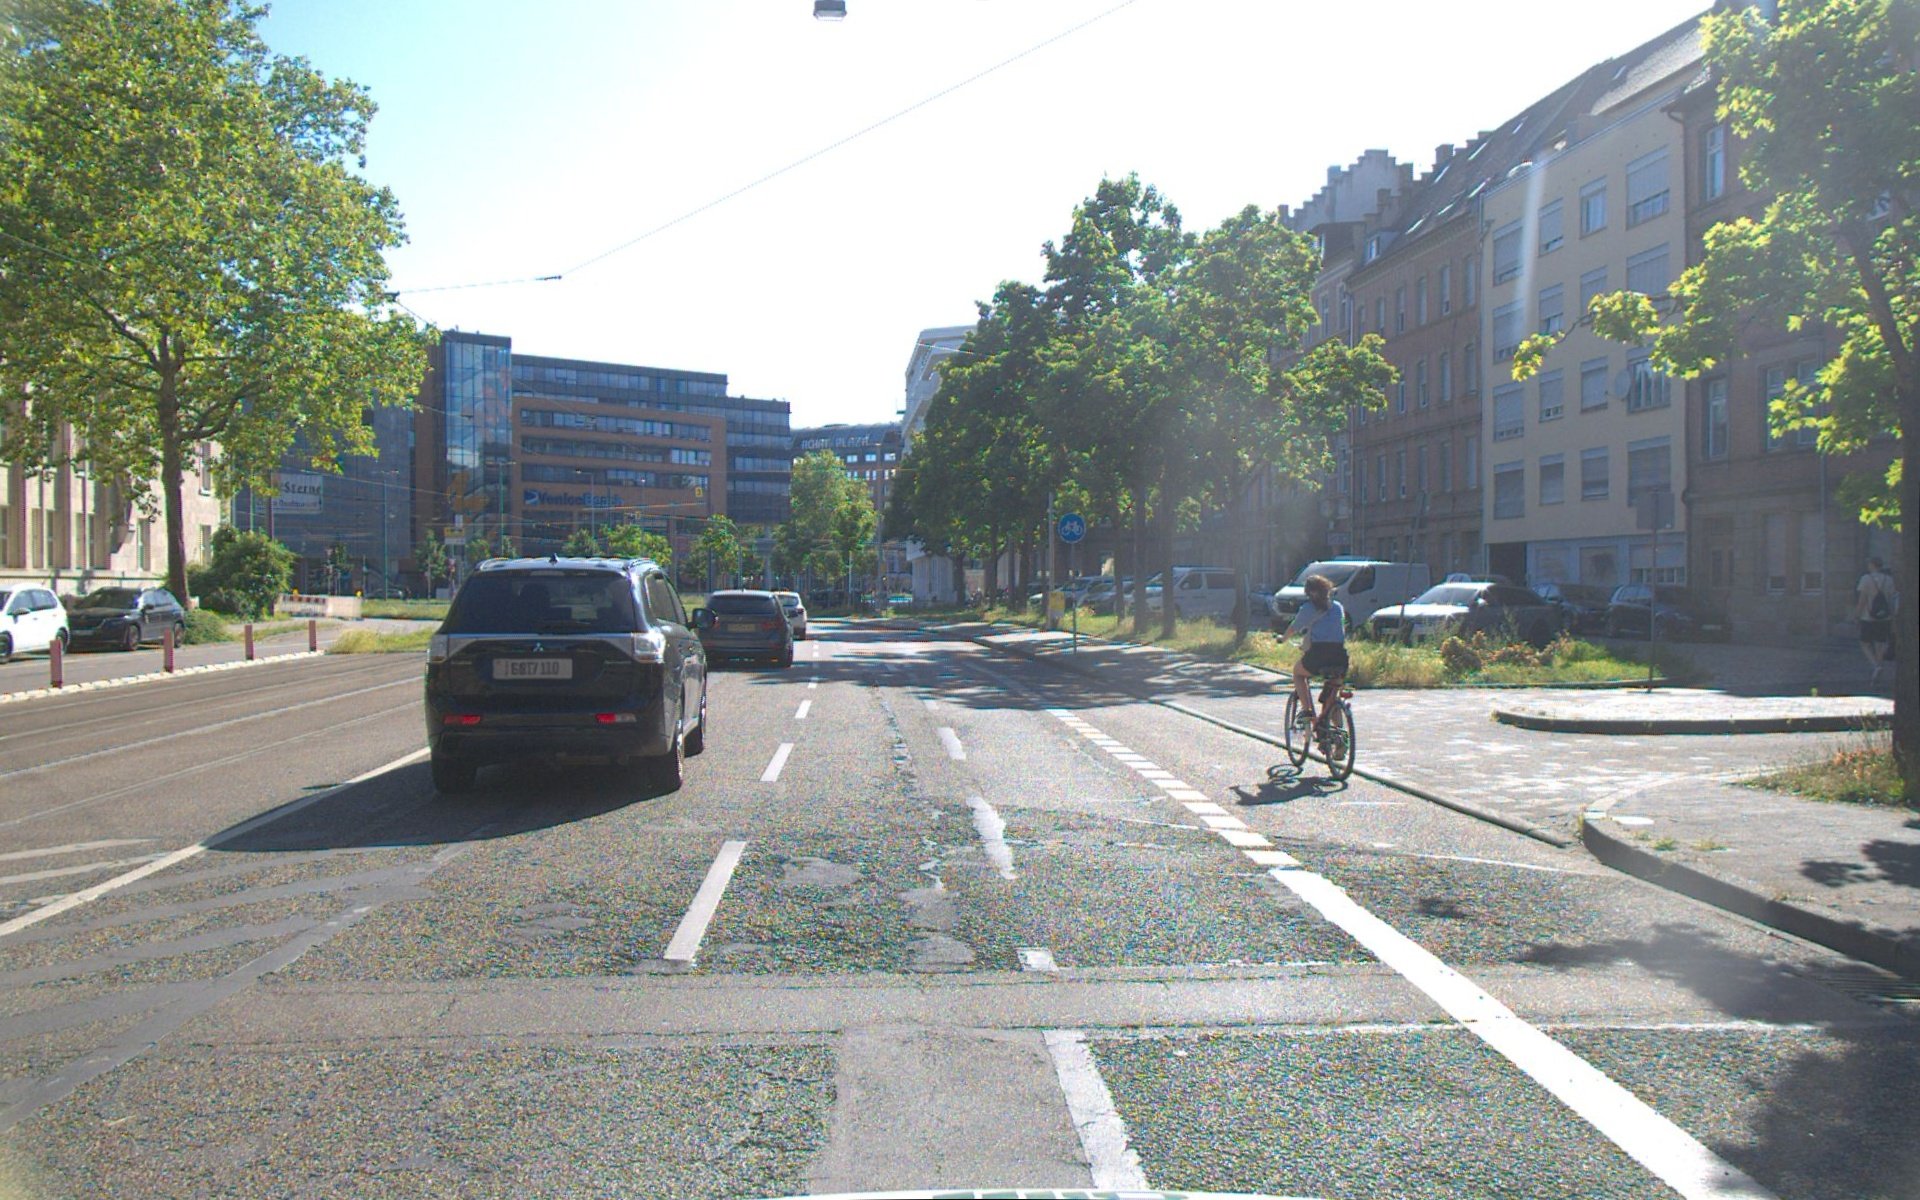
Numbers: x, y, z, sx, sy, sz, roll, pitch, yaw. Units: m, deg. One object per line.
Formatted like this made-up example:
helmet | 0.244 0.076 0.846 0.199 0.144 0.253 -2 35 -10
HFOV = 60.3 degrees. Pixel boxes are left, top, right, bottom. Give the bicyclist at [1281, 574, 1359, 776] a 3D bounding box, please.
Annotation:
bicyclist | 3.053 0.614 14.081 0.429 1.667 0.778 -1 1 -4

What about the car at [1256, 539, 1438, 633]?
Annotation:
car | 9.844 -0.389 41.905 4.836 2.111 1.991 -4 2 -40

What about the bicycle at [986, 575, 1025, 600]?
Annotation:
bicycle | 2.400 -0.674 87.721 1.920 1.212 0.840 -2 1 -6

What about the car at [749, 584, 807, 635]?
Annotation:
car | -5.545 0.322 50.151 1.601 1.448 3.775 2 -1 -8

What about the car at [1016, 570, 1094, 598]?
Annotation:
car | 5.602 -0.963 97.251 4.422 1.593 1.913 -1 1 -37

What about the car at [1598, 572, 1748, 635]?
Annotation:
car | 18.228 0.055 42.504 1.694 1.445 4.289 -2 2 -5

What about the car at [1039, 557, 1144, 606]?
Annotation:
car | 6.222 -0.894 78.031 4.834 2.048 2.071 -3 1 -40

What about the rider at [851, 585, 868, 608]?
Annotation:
rider | -5.631 -0.204 92.913 0.491 1.196 1.678 0 2 12

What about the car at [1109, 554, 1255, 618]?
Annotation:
car | 8.031 -0.519 59.612 5.128 2.048 2.075 -3 1 -35

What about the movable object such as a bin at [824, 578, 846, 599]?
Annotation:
movable object such as a bin | -8.463 -0.800 112.026 1.083 1.423 1.322 0 1 15

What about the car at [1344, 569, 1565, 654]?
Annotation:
car | 10.336 0.197 34.407 4.832 1.459 1.993 -4 2 -39

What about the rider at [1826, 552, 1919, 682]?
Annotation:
rider | 13.522 0.226 24.321 0.948 1.852 1.032 -1 1 -26

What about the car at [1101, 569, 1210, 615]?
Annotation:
car | 7.406 -0.305 62.538 3.992 1.504 1.787 -3 1 -39

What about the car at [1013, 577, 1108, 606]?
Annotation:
car | 5.123 -0.443 84.012 4.706 1.404 2.017 -1 1 -39

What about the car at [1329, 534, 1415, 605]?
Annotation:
car | 16.233 -1.225 65.320 1.954 2.630 4.510 -2 2 -4

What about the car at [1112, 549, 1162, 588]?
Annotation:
car | 11.546 -2.097 108.234 2.303 2.398 5.183 -2 2 -4

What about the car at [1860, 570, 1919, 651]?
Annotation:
car | 18.930 0.195 30.636 1.953 1.500 4.488 -1 1 -2

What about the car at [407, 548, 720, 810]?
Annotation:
car | -2.936 0.508 13.197 1.800 1.711 4.637 0 0 -6

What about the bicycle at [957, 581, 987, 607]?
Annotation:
bicycle | 0.636 -0.331 86.945 0.754 1.312 1.593 -1 1 34

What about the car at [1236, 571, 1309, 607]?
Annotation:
car | 14.606 -0.549 77.578 1.957 1.555 4.504 -2 2 -9

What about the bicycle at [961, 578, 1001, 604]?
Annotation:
bicycle | 1.114 -0.494 89.214 2.056 1.388 0.785 -1 0 -11

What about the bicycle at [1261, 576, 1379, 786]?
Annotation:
bicycle | 3.057 0.632 14.203 0.429 1.667 1.937 -1 1 -5

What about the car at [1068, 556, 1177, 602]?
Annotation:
car | 7.085 -0.922 71.879 4.461 1.757 1.975 -3 1 -35

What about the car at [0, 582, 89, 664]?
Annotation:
car | -20.118 0.458 34.511 1.794 1.615 4.392 -2 1 -4

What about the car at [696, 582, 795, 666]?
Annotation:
car | -4.010 0.464 31.439 1.700 1.448 4.461 2 -1 -6

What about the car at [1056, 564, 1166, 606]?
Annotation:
car | 6.909 -0.698 75.491 4.825 1.676 2.075 -3 1 -35

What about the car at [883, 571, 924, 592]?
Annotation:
car | -5.750 -1.906 168.753 3.901 2.049 2.002 0 0 10

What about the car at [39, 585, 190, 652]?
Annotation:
car | -20.725 0.412 40.738 1.794 1.518 4.178 -1 1 -4
